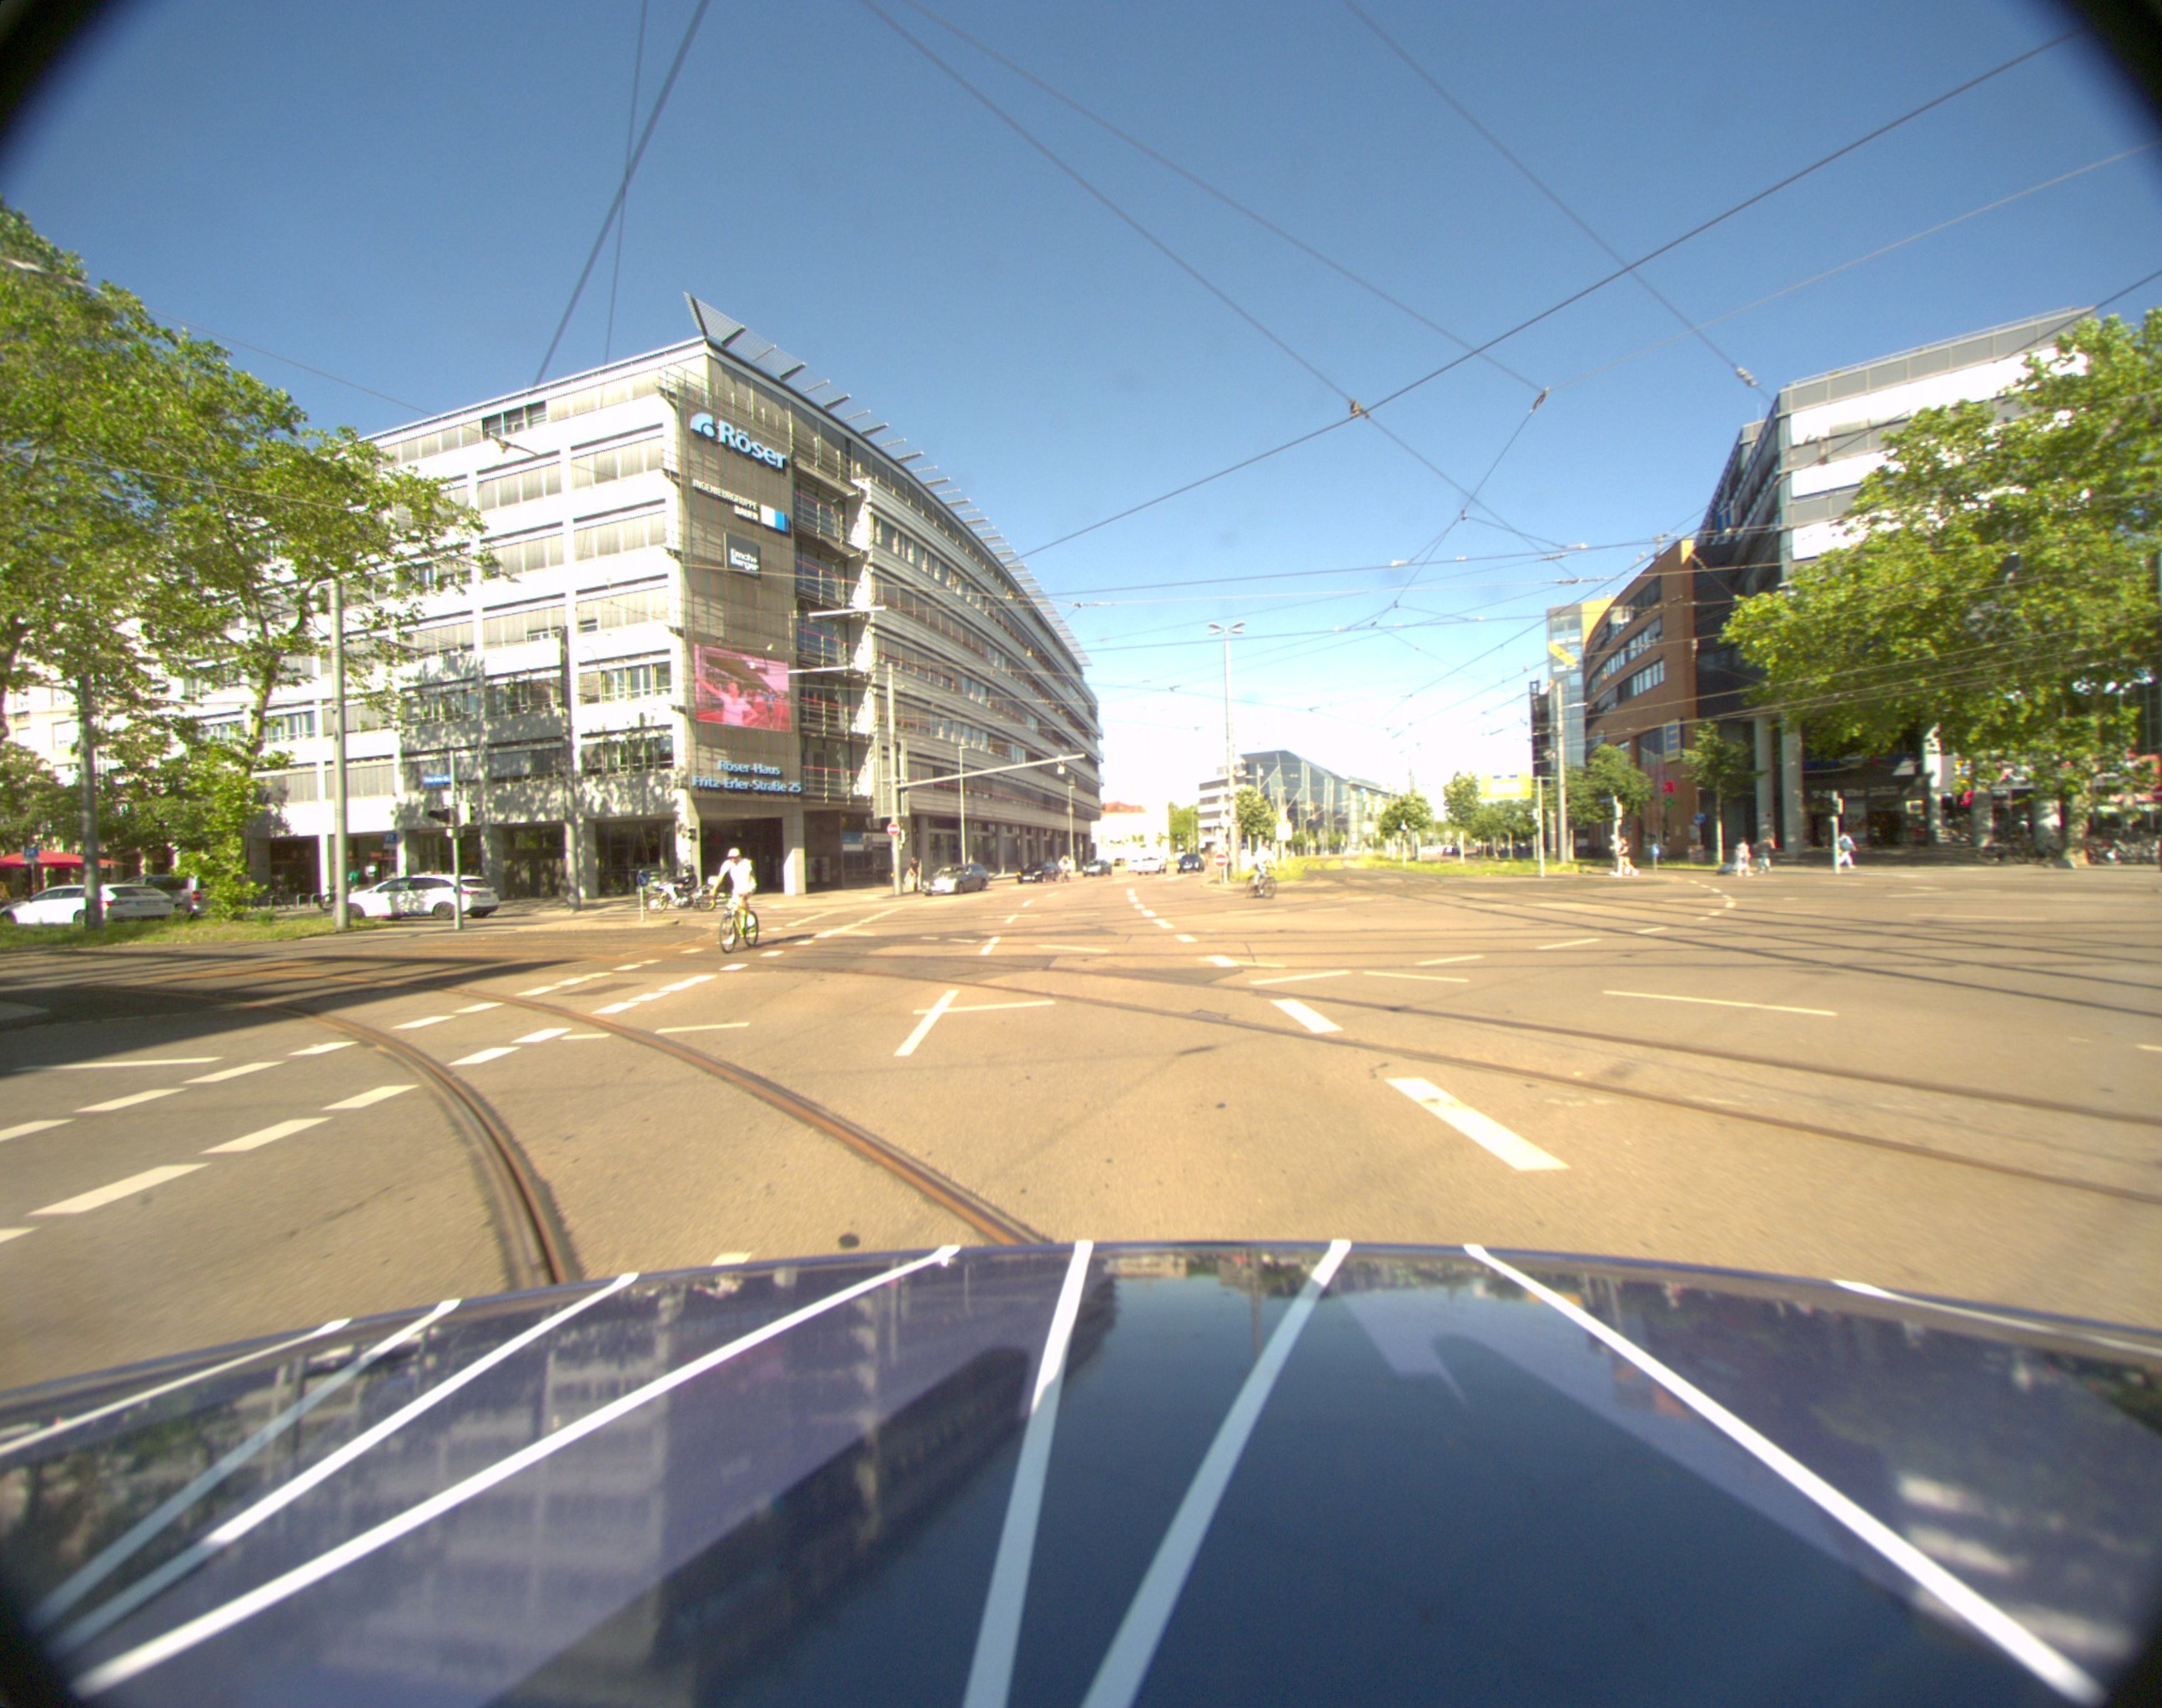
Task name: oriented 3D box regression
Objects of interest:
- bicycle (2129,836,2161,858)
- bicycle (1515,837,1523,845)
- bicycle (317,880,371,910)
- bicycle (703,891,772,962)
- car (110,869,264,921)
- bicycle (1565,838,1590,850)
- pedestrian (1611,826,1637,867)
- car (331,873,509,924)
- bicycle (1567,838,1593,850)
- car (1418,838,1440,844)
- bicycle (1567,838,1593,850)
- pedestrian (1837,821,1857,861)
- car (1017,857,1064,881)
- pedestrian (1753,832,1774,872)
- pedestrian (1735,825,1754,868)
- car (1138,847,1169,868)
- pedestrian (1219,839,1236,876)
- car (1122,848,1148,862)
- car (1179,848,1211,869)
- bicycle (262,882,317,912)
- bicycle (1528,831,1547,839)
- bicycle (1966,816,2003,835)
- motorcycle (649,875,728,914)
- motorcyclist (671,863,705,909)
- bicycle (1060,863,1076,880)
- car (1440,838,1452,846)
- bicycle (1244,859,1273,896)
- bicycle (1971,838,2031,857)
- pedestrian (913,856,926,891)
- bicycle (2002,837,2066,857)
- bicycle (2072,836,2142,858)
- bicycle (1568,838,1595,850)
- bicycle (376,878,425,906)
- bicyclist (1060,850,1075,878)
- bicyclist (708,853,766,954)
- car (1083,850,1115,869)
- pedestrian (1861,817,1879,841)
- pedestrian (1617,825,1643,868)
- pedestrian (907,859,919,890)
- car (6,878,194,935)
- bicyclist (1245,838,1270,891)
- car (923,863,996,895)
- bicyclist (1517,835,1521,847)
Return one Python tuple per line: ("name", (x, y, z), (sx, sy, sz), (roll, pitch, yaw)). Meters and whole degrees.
("bicycle", (41.747, -0.282, 29.226), (2.028, 0.794, 0.376), (-2, 1, 7))
("bicycle", (50.961, -1.525, 88.384), (0.353, 0.921, 1.897), (-2, 2, 15))
("bicycle", (-32.950, 1.828, 34.000), (0.468, 1.213, 1.731), (-1, 1, 11))
("bicycle", (-6.221, 1.277, 13.850), (0.651, 1.103, 1.757), (-2, 0, -9))
("car", (-36.035, 1.628, 30.687), (4.384, 1.841, 1.821), (-2, 1, 7))
("bicycle", (54.211, -1.106, 83.045), (2.175, 1.116, 0.754), (-3, 0, 26))
("pedestrian", (24.394, -0.347, 34.148), (0.762, 1.820, 0.625), (-2, 1, 22))
("car", (-22.061, 1.442, 25.522), (4.137, 1.574, 1.911), (-1, -1, -6))
("bicycle", (53.584, -1.074, 81.623), (2.175, 1.116, 0.754), (-3, 0, 26))
("car", (71.003, -2.590, 155.202), (3.990, 1.084, 2.003), (-2, 0, 27))
("bicycle", (53.045, -1.055, 80.764), (2.175, 1.116, 0.754), (-3, 0, 26))
("pedestrian", (35.425, -0.611, 35.135), (0.462, 1.820, 0.458), (-2, 1, -22))
("car", (-2.697, 0.984, 51.254), (1.724, 1.414, 4.642), (-2, 0, 15))
("pedestrian", (31.881, -0.102, 35.484), (0.583, 1.820, 0.497), (-2, 1, -22))
("pedestrian", (28.370, -0.322, 32.479), (0.386, 1.820, 0.463), (-2, 1, -15))
("car", (6.183, 0.275, 64.404), (1.871, 1.621, 4.343), (-2, 0, 15))
("pedestrian", (6.988, 0.167, 36.191), (0.671, 1.742, 0.769), (-2, 1, 4))
("car", (5.911, 0.099, 82.745), (1.775, 1.395, 4.299), (-4, -1, 19))
("car", (9.211, 0.348, 61.147), (1.871, 1.547, 4.005), (-2, 0, 17))
("bicycle", (-36.159, 1.947, 34.731), (0.468, 1.213, 1.731), (-1, 1, 11))
("bicycle", (61.516, -2.520, 102.364), (2.175, 0.949, 0.493), (-3, 0, 26))
("bicycle", (55.176, -1.736, 46.421), (0.493, 1.127, 1.805), (-2, 0, 16))
("motorcycle", (-13.868, 1.419, 26.931), (2.393, 1.194, 0.830), (-3, 1, -24))
("motorcyclist", (-13.884, 1.127, 26.863), (0.943, 1.552, 0.830), (-3, 1, -24))
("bicycle", (-0.803, 1.096, 48.514), (0.827, 1.030, 1.892), (-3, 0, 3))
("car", (61.902, -2.047, 128.833), (1.430, 1.351, 3.300), (-2, 0, 19))
("bicycle", (5.765, 0.730, 24.737), (0.688, 1.063, 2.699), (-3, 0, 9))
("bicycle", (41.548, -0.298, 34.331), (2.028, 0.794, 0.376), (-2, 1, 7))
("pedestrian", (-8.413, 1.006, 39.573), (0.609, 1.787, 0.639), (0, 0, -20))
("bicycle", (41.516, -0.287, 33.106), (2.028, 0.794, 0.376), (-2, 1, 7))
("bicycle", (41.345, -0.272, 30.620), (2.028, 0.794, 0.376), (-2, 1, 7))
("bicycle", (52.063, -1.021, 79.058), (2.175, 1.116, 0.754), (-3, 0, 26))
("bicycle", (-31.349, 1.735, 35.022), (0.468, 1.213, 1.731), (-1, 1, 11))
("bicyclist", (-0.861, 0.636, 48.552), (0.808, 1.683, 1.051), (-3, 0, 4))
("bicyclist", (-6.223, 0.870, 13.787), (0.651, 1.742, 1.044), (-2, 0, -9))
("car", (1.635, 0.489, 67.807), (1.724, 1.515, 4.404), (-2, 0, 17))
("pedestrian", (54.375, -1.709, 52.362), (0.507, 1.615, 0.789), (-2, 2, 16))
("pedestrian", (23.594, -0.319, 32.654), (0.761, 1.820, 0.625), (-2, 1, 25))
("pedestrian", (-8.860, 1.067, 40.104), (0.562, 1.636, 0.428), (0, 0, -20))
("car", (-32.408, 1.709, 25.168), (4.132, 1.532, 1.913), (-4, 0, 7))
("bicyclist", (5.738, 0.327, 24.707), (0.619, 1.660, 1.020), (-3, 0, 9))
("car", (-5.985, 1.203, 37.976), (1.724, 1.388, 4.793), (-2, 0, 15))
("bicyclist", (50.957, -1.560, 88.376), (0.341, 1.369, 0.482), (-2, 2, 15))
